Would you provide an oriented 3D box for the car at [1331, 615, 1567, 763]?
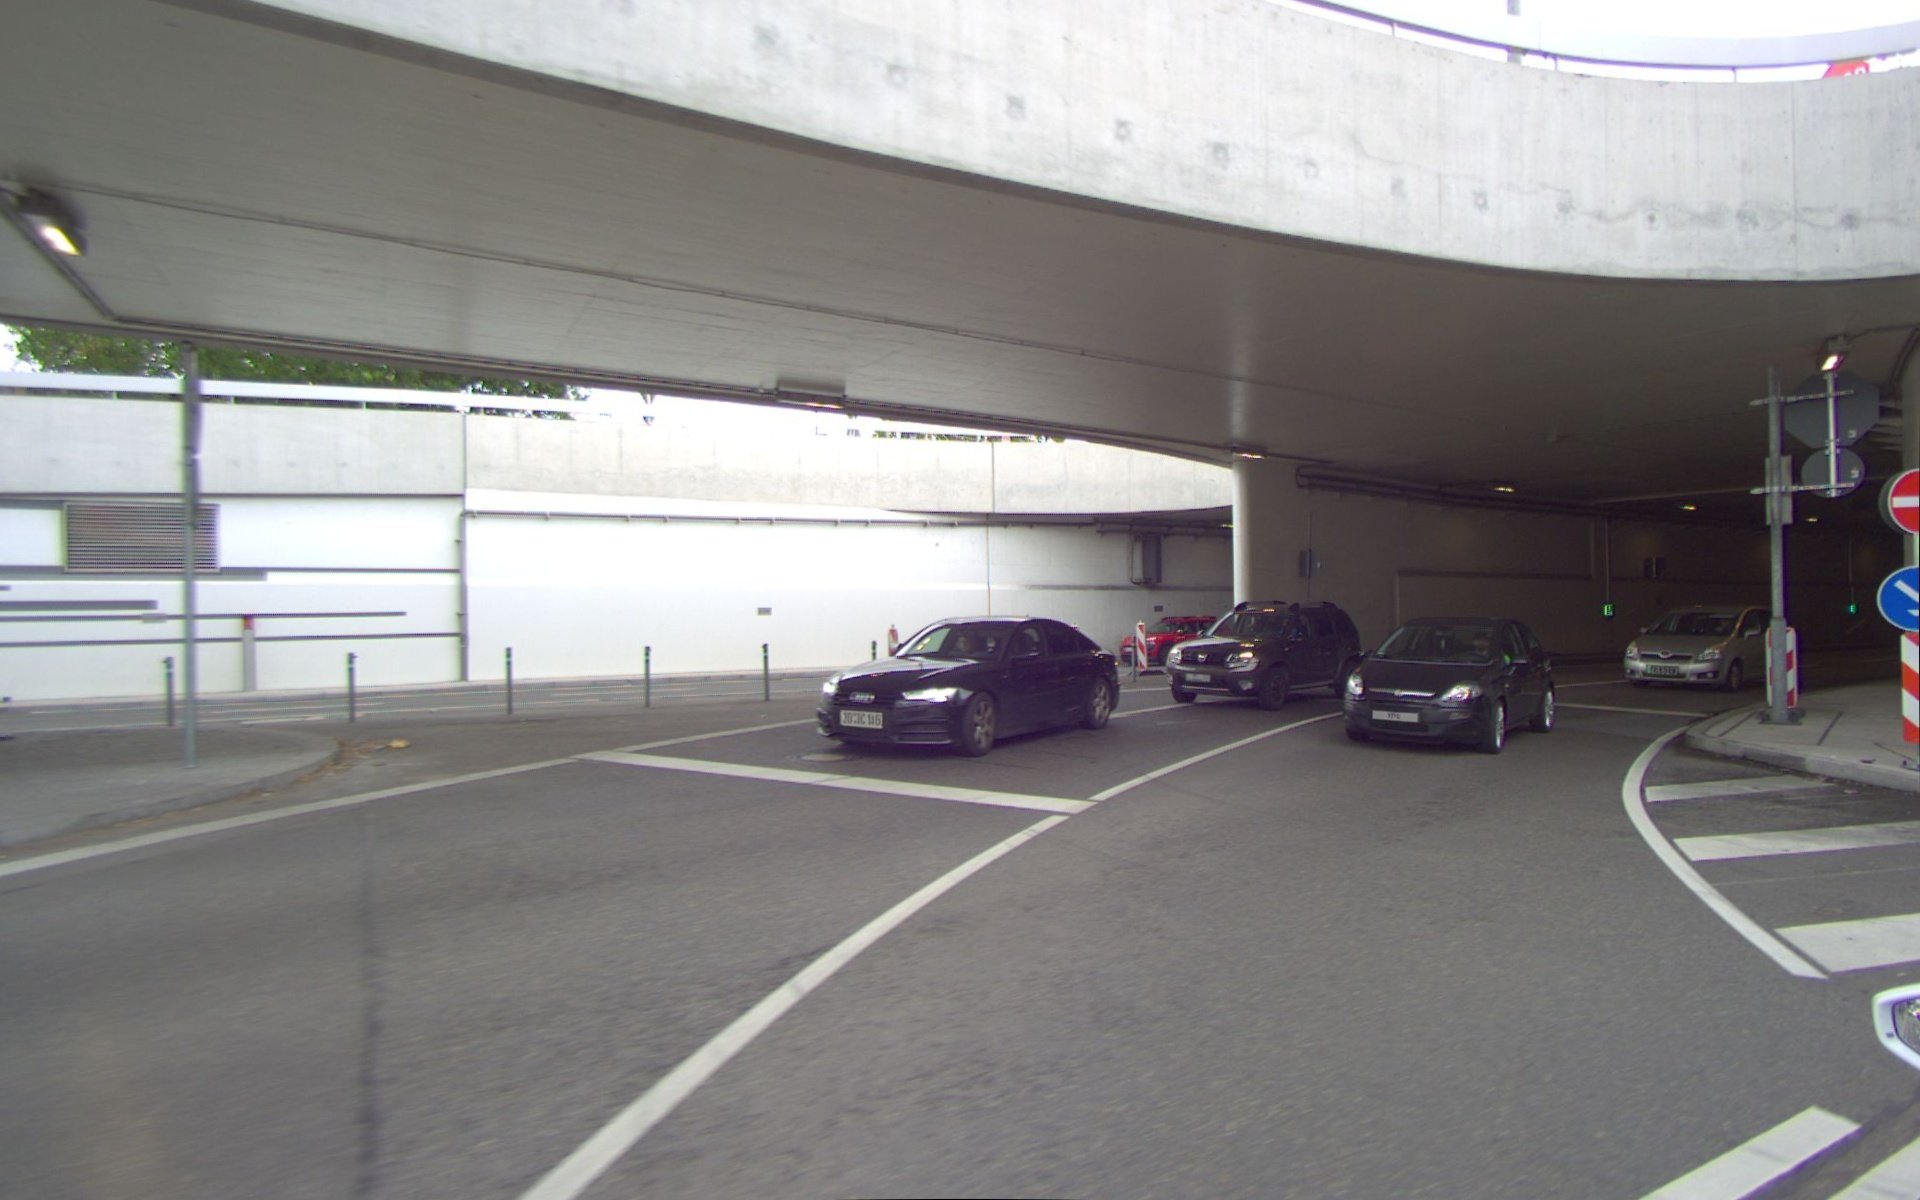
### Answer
[{"bbox_3d":[6.113,0.938,12.317,1.645,1.460,4.093,-1,0,40],"label":"car"}]

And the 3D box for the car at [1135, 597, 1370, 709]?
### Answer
[{"bbox_3d":[4.937,0.777,16.644,4.295,1.621,1.777,0,0,-42],"label":"car"}]

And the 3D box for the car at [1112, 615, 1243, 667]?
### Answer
[{"bbox_3d":[6.794,1.234,31.308,3.953,1.534,1.638,1,-1,-30],"label":"car"}]

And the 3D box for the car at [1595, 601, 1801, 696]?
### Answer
[{"bbox_3d":[14.726,0.880,19.955,4.736,1.626,1.797,-1,0,-34],"label":"car"}]

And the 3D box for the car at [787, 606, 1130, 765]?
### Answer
[{"bbox_3d":[0.260,0.834,11.815,1.824,1.462,4.833,0,-1,31],"label":"car"}]
